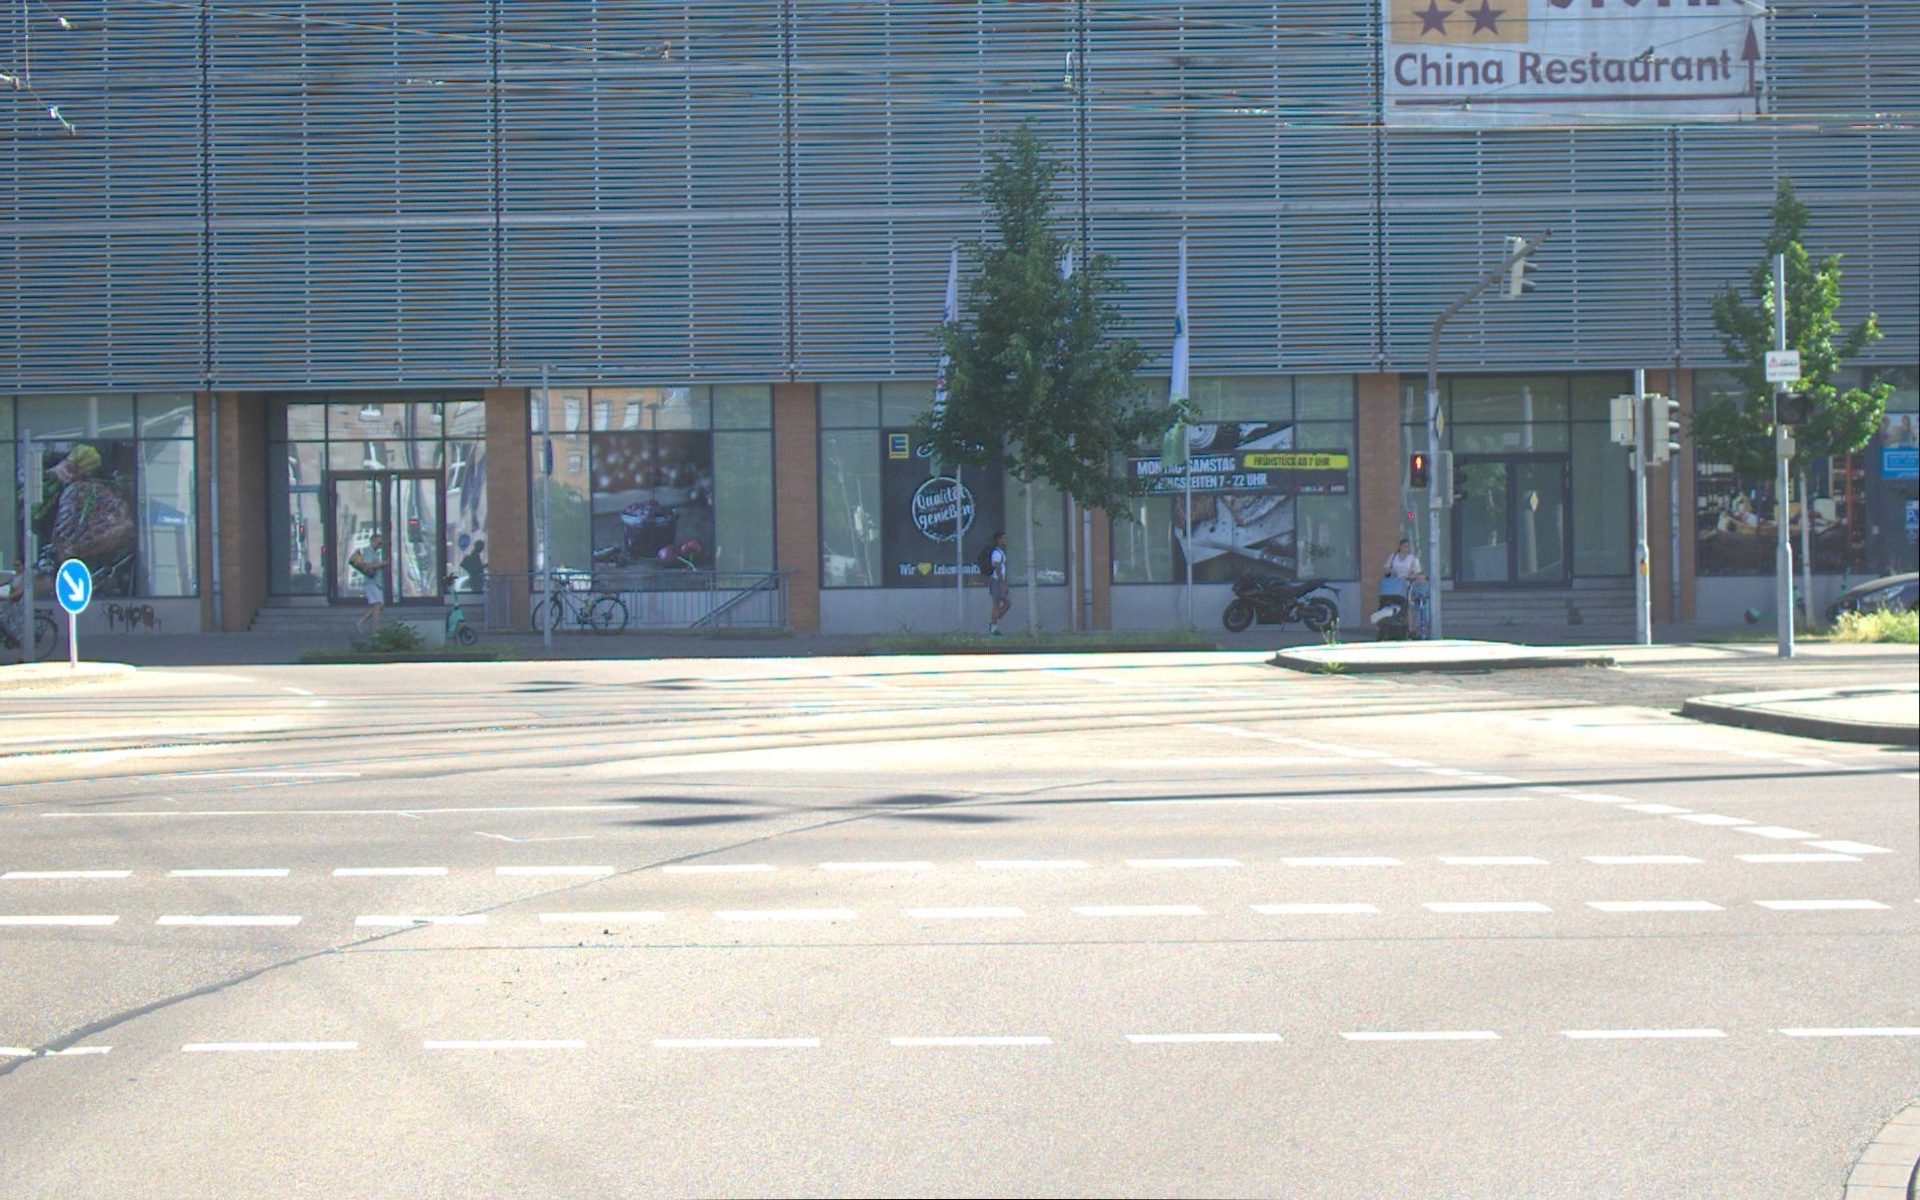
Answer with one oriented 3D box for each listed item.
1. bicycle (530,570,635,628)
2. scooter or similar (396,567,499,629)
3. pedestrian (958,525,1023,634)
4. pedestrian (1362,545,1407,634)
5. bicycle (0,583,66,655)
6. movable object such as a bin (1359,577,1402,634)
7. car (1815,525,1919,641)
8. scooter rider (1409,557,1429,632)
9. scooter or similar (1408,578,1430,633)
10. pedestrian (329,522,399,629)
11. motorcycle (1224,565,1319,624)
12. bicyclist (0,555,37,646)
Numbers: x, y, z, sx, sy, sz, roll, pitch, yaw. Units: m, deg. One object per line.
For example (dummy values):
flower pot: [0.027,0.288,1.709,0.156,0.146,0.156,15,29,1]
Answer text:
bicycle: [-6.649,-0.014,60.543,1.815,0.986,0.558,-1,2,-10]
scooter or similar: [-9.078,-0.043,60.926,1.792,1.062,0.613,0,2,-8]
pedestrian: [0.535,-0.355,59.286,1.012,1.822,1.035,-2,1,3]
pedestrian: [6.831,-0.175,55.269,0.655,1.409,0.849,1,0,10]
bicycle: [-15.245,0.312,54.861,0.568,1.082,1.859,1,3,43]
movable object such as a bin: [6.713,0.081,54.808,0.613,0.901,0.968,1,0,10]
car: [13.755,-0.141,45.847,4.146,1.464,1.841,3,0,-1]
scooter rider: [7.345,-0.085,55.030,0.288,1.196,0.385,1,0,10]
scooter or similar: [7.351,0.077,55.092,0.295,0.870,1.003,1,0,10]
pedestrian: [-10.379,-0.439,59.885,0.950,1.822,0.846,-2,1,5]
motorcycle: [5.495,-0.099,60.636,1.640,1.001,0.446,1,1,6]
bicyclist: [-15.279,0.003,54.781,0.675,1.422,0.847,1,3,43]
